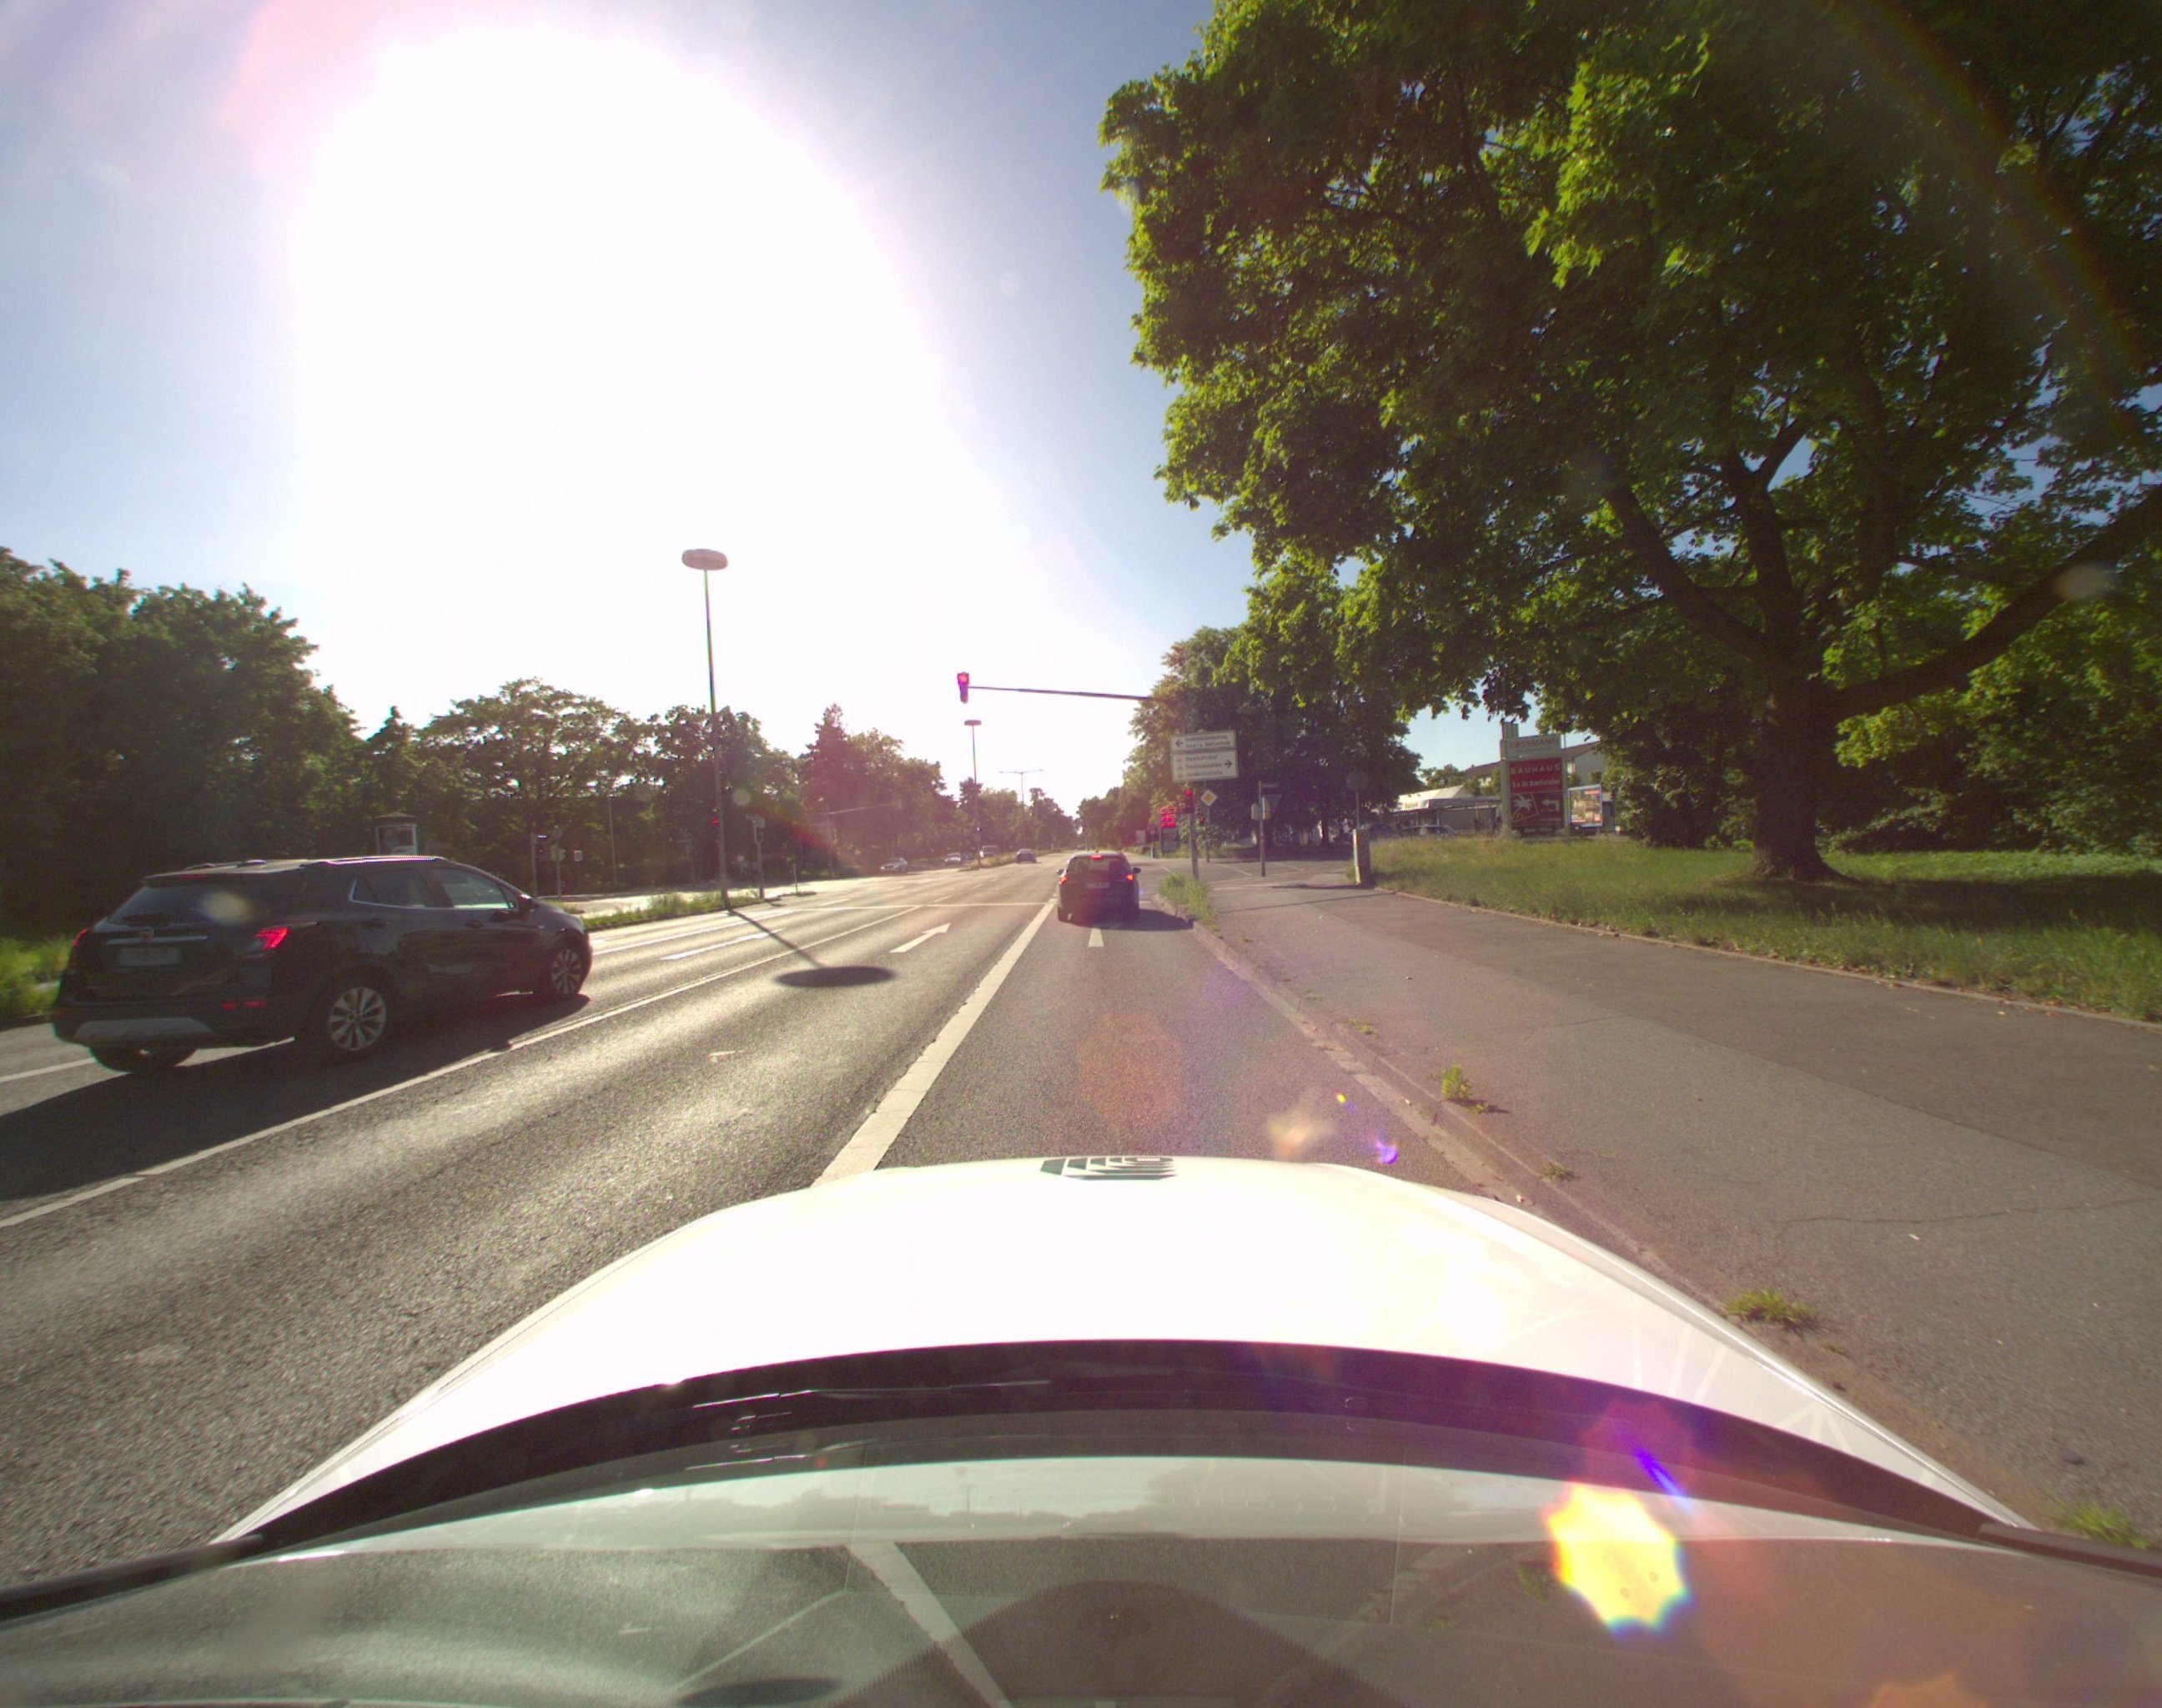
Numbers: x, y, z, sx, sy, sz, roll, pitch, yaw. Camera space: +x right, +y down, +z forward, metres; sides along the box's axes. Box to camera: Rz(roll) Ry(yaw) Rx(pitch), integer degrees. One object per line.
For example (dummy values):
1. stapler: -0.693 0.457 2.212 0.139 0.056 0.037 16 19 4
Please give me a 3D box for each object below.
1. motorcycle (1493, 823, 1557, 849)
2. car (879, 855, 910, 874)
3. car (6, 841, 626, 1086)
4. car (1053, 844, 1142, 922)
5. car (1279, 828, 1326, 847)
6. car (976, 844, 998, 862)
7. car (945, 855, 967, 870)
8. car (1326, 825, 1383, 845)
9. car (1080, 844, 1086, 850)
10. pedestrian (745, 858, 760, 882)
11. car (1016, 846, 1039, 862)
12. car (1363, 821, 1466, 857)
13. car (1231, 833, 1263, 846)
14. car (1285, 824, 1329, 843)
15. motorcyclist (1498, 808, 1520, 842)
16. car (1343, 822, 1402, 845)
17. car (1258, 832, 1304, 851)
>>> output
1. motorcycle: 22.279 -0.901 40.944 2.703 1.270 0.838 -1 0 17
2. car: -17.669 0.965 77.306 1.857 1.684 4.261 -1 0 1
3. car: -6.563 0.756 7.878 1.690 1.632 4.418 -3 0 1
4. car: 0.362 0.594 18.408 1.749 1.509 3.809 -2 0 1
5. car: 19.001 -1.381 69.853 3.861 1.563 1.787 0 0 -31
6. car: -10.968 -0.096 94.921 1.986 2.013 4.001 -1 0 1
7. car: -15.354 0.992 100.056 1.857 1.684 4.001 -3 0 1
8. car: 21.112 -1.482 62.847 3.847 1.482 1.794 -1 0 -19
9. car: 0.467 -1.994 240.899 1.727 1.585 3.839 -1 0 0
10. pedestrian: -26.545 1.285 65.805 0.842 1.835 0.550 -3 0 5
11. car: -5.403 0.010 82.747 1.882 1.552 4.001 -3 0 1
12. car: 17.037 -0.729 41.823 4.587 1.574 2.007 -3 -1 12
13. car: 21.433 -1.858 105.123 3.702 1.685 1.703 -1 0 -2
14. car: 21.628 -1.973 78.091 3.702 1.685 1.703 -1 0 -2
15. motorcyclist: 21.611 -1.449 41.137 0.853 1.680 0.838 -1 0 17
16. car: 21.859 -1.525 61.081 3.847 1.611 1.794 -1 0 -19
17. car: 17.751 -1.117 72.227 3.730 1.685 1.690 0 0 -26
